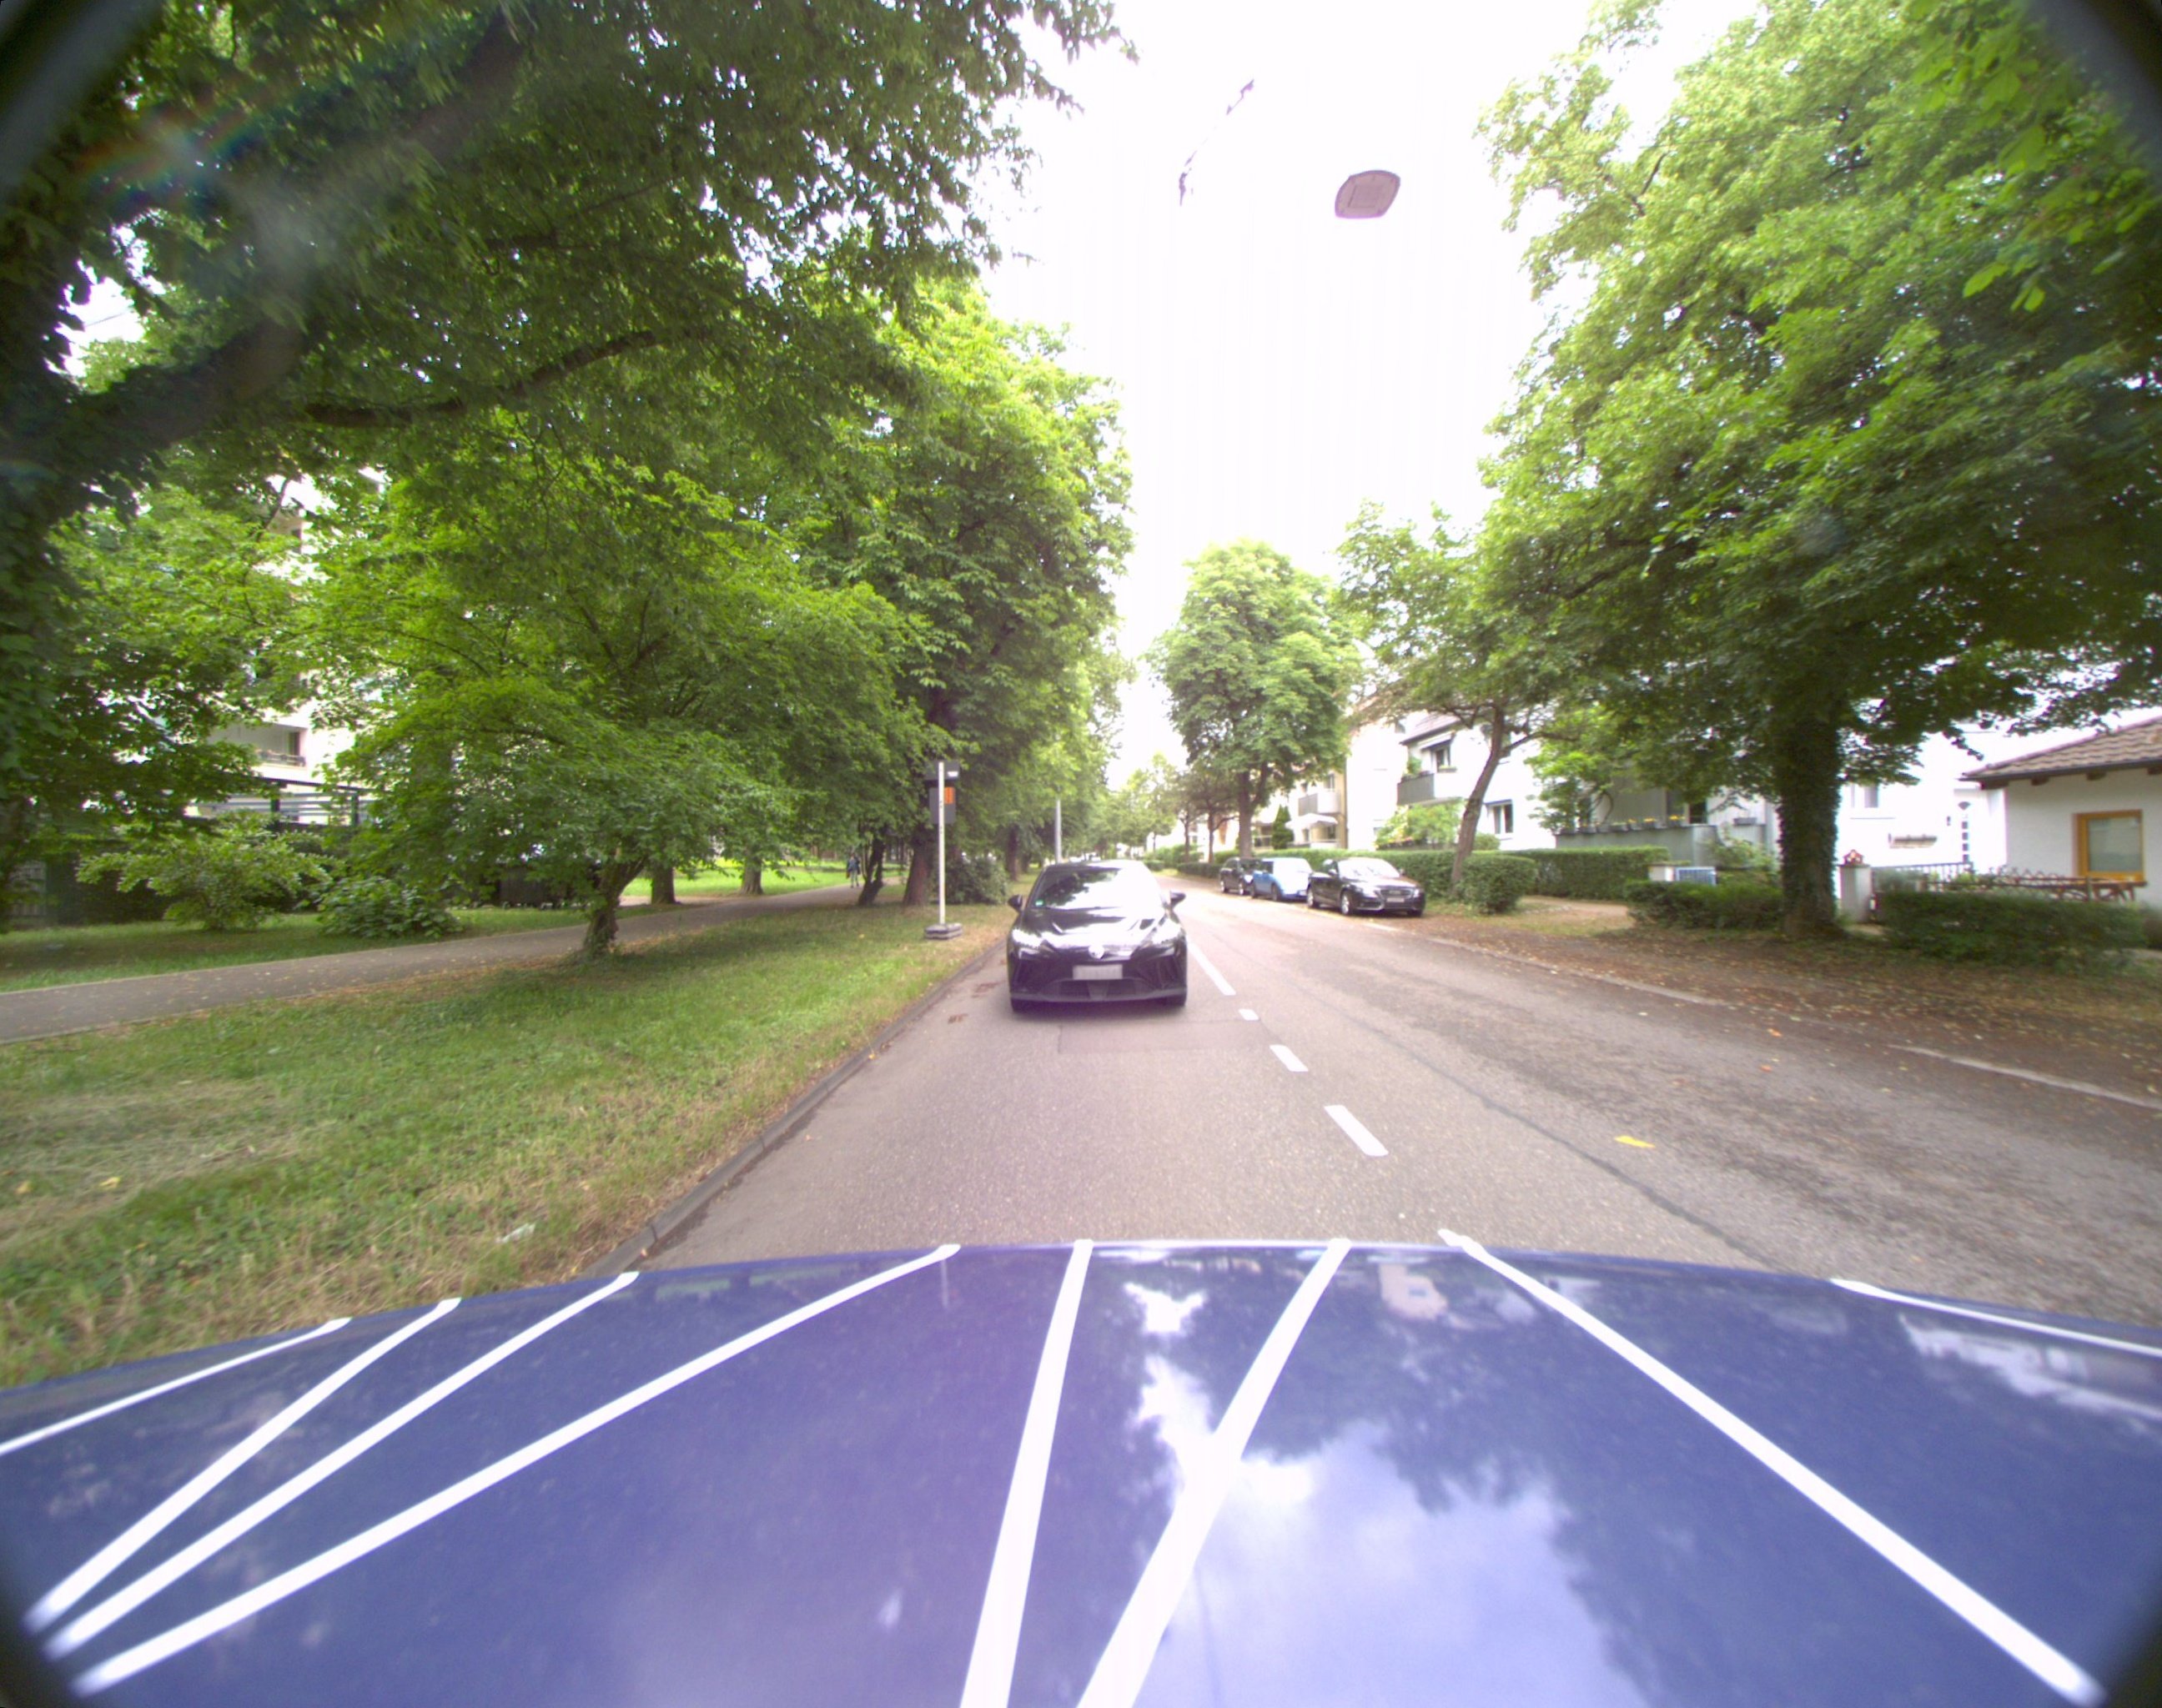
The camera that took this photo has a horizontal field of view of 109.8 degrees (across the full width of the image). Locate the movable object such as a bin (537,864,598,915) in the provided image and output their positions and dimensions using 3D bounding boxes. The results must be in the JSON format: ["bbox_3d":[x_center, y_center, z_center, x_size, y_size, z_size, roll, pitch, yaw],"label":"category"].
[{"bbox_3d":[-13.535,0.913,20.067,1.026,1.296,0.959,0,0,-8],"label":"movable object such as a bin"}]

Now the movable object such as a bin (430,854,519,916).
[{"bbox_3d":[-14.851,0.737,18.661,1.194,1.448,1.348,0,0,-8],"label":"movable object such as a bin"}]

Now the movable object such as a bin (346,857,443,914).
[{"bbox_3d":[-16.792,0.752,18.636,1.194,1.334,1.348,0,0,-8],"label":"movable object such as a bin"}]

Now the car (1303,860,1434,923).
[{"bbox_3d":[7.122,0.875,19.298,1.735,1.395,4.171,0,0,0],"label":"car"}]

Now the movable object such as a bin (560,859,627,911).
[{"bbox_3d":[-13.550,0.849,21.160,1.194,1.405,1.110,0,0,-8],"label":"movable object such as a bin"}]

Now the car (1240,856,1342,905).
[{"bbox_3d":[6.856,0.818,25.317,1.889,1.492,4.564,0,0,-4],"label":"car"}]

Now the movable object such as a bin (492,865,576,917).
[{"bbox_3d":[-13.537,0.898,18.868,1.194,1.213,1.348,0,0,-8],"label":"movable object such as a bin"}]

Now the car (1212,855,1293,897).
[{"bbox_3d":[6.673,0.803,30.068,1.889,1.524,4.564,0,0,-4],"label":"car"}]

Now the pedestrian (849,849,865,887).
[{"bbox_3d":[-10.572,0.655,35.824,0.565,1.730,0.570,1,0,-1],"label":"pedestrian"}]

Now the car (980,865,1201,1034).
[{"bbox_3d":[0.084,0.900,9.208,1.998,1.491,4.615,0,0,0],"label":"car"}]
